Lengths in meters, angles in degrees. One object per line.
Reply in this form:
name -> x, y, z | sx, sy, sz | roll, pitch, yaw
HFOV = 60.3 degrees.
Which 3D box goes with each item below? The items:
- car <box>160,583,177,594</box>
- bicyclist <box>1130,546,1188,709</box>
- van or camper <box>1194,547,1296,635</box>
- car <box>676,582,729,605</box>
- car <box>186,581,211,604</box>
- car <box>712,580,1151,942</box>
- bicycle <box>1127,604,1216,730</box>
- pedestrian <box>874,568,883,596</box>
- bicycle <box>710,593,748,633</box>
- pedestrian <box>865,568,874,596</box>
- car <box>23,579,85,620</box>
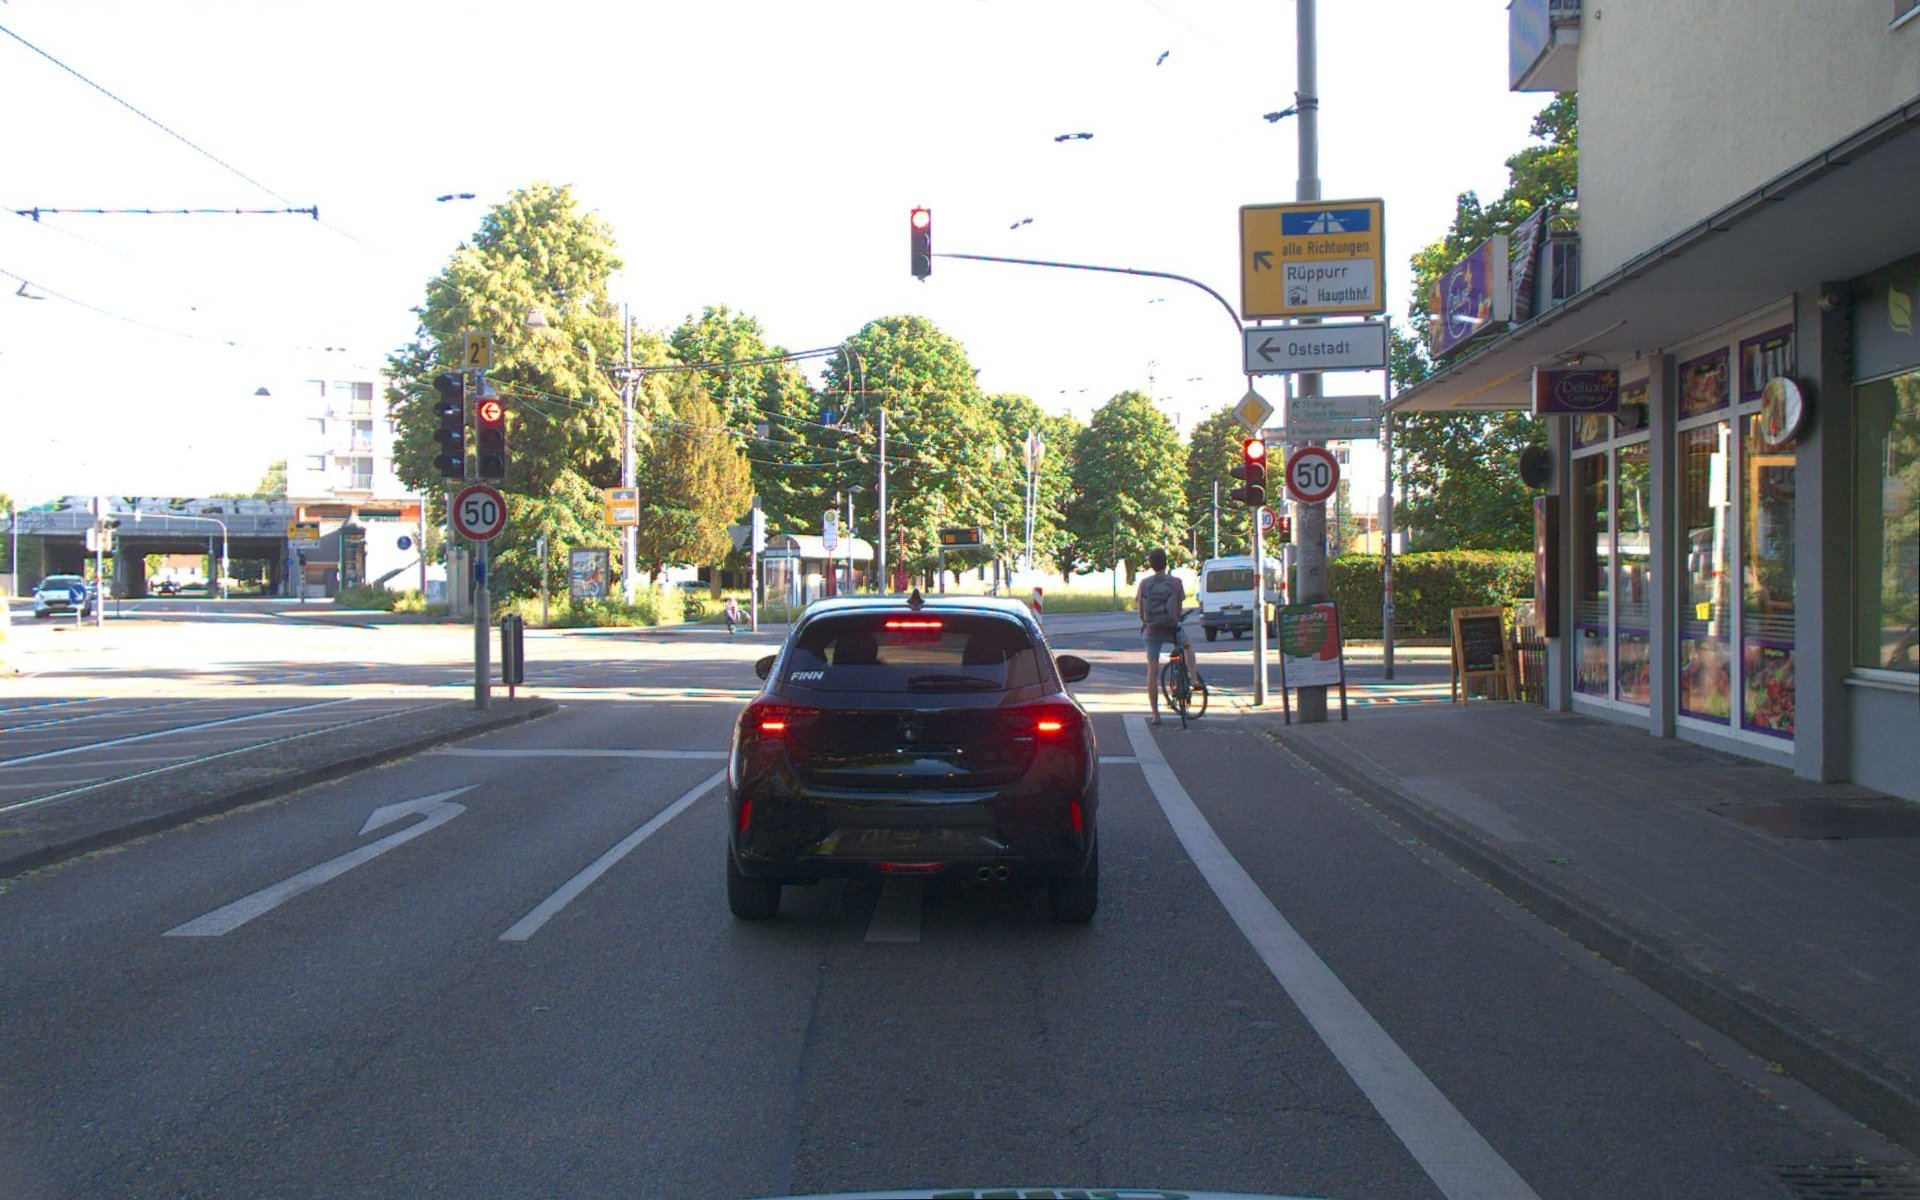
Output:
car -> -91.718, -1.371, 191.648 | 1.562, 1.282, 3.394 | -1, 1, -30
bicyclist -> 2.149, 0.290, 17.817 | 0.522, 1.722, 0.568 | 0, 0, 16
van or camper -> 8.055, -0.227, 46.391 | 1.987, 2.351, 4.540 | 1, 0, 20
car -> -18.362, -0.454, 117.941 | 3.489, 1.596, 1.535 | 1, 0, -24
car -> -59.253, -0.565, 128.776 | 1.732, 1.713, 3.712 | 1, 0, -25
car -> -0.144, 0.644, 8.802 | 1.803, 1.487, 3.983 | 0, 1, -1
bicycle -> 2.321, 0.686, 17.951 | 0.737, 1.256, 2.017 | 0, 1, 14
pedestrian -> -5.713, -1.262, 116.090 | 0.592, 1.904, 0.519 | 1, -1, -7
bicycle -> -6.497, 0.345, 46.542 | 0.780, 1.083, 2.184 | 0, 1, -1
pedestrian -> -6.383, -1.272, 116.462 | 0.592, 1.904, 0.519 | 1, -1, -7
car -> -37.232, -0.017, 68.065 | 1.860, 1.613, 3.809 | 1, 0, -24
